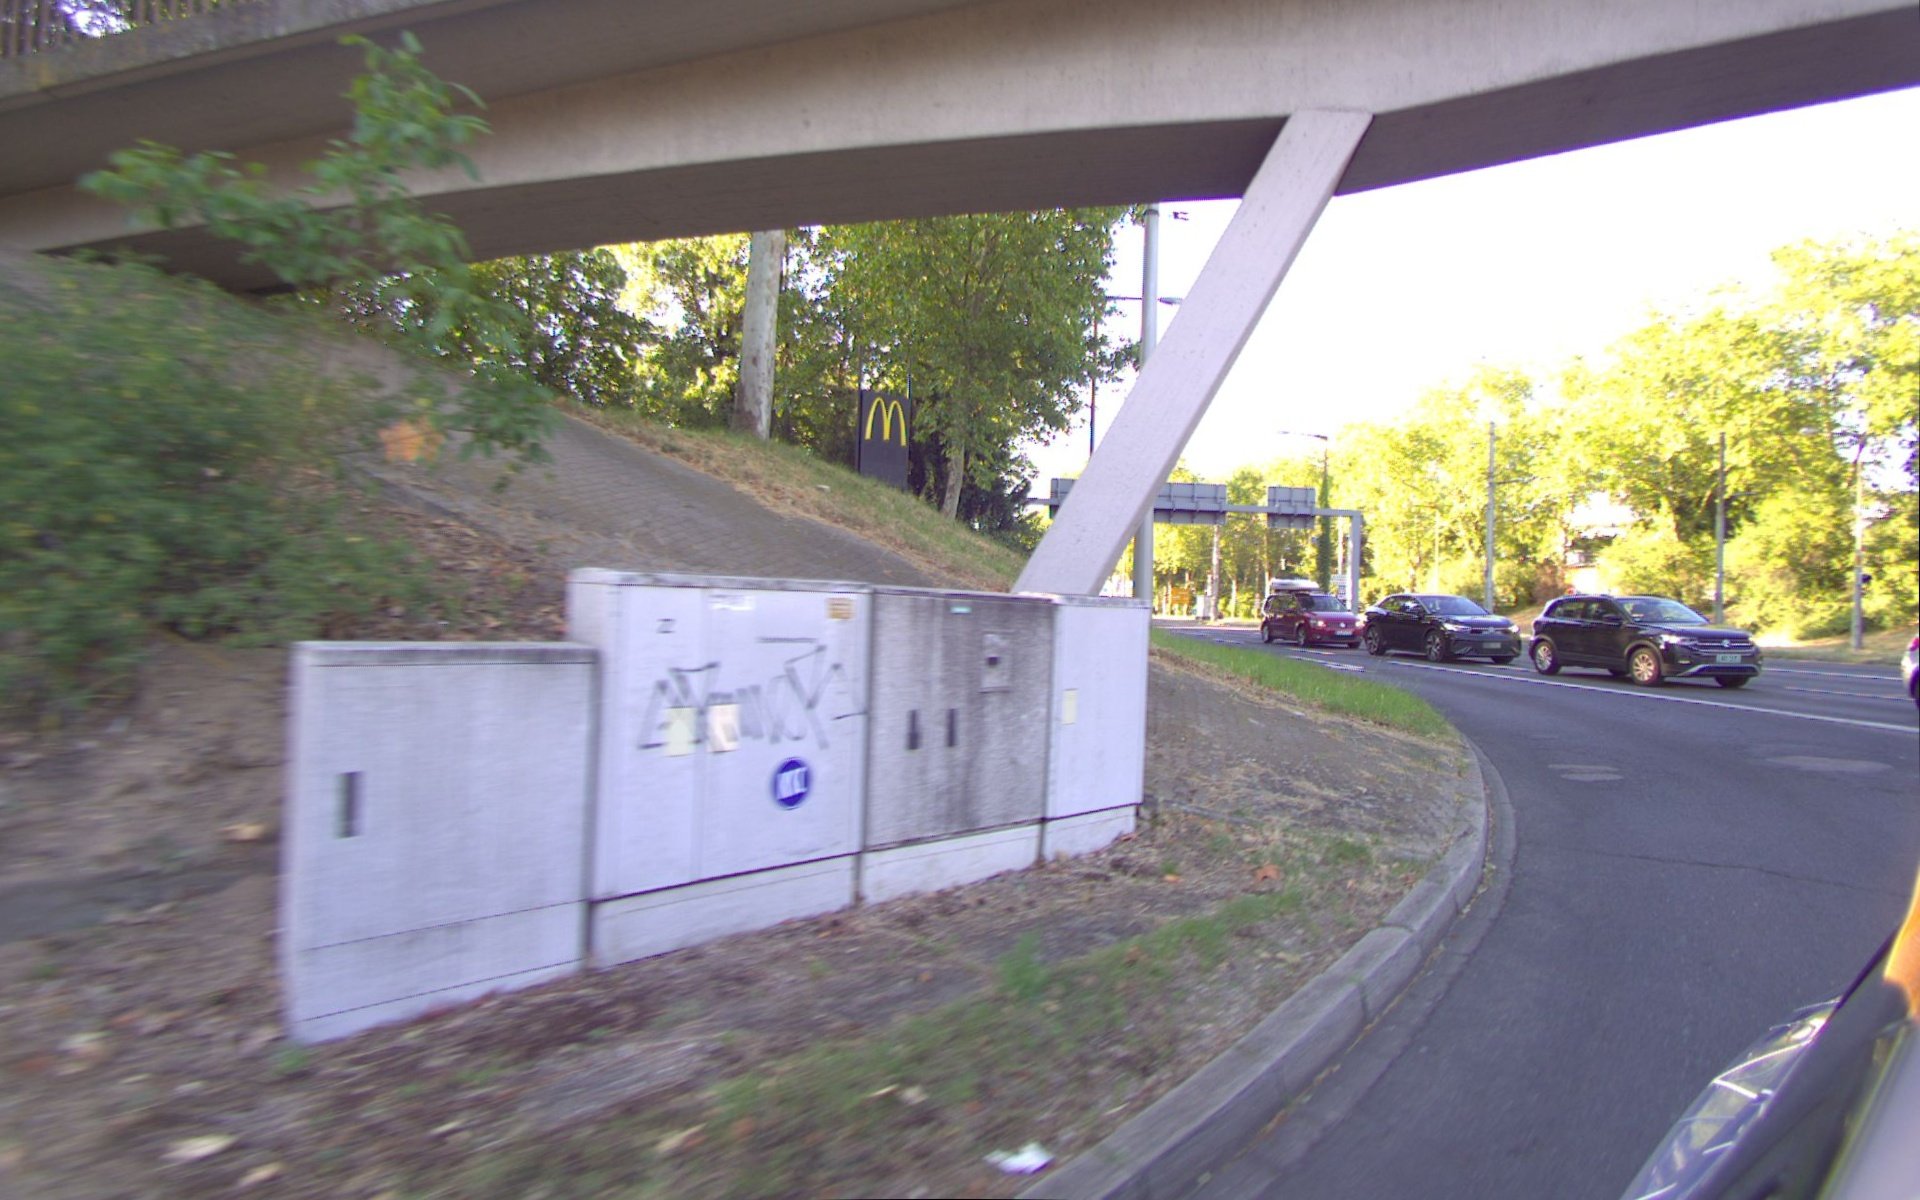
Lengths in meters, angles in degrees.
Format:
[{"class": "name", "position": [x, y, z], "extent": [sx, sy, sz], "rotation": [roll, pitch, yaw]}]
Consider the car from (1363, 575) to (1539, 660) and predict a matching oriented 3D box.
[{"class": "car", "position": [11.544, 0.403, 24.164], "extent": [1.762, 1.772, 4.244], "rotation": [3, -1, -5]}]

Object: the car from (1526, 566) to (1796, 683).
[{"class": "car", "position": [12.286, 0.410, 18.104], "extent": [1.762, 1.772, 4.003], "rotation": [3, -1, -5]}]

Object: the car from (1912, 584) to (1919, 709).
[{"class": "car", "position": [12.597, 0.595, 10.316], "extent": [1.762, 1.500, 4.003], "rotation": [3, -1, -5]}]

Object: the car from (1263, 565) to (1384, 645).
[{"class": "car", "position": [10.772, 0.165, 30.298], "extent": [1.762, 2.132, 4.004], "rotation": [3, -1, -6]}]
